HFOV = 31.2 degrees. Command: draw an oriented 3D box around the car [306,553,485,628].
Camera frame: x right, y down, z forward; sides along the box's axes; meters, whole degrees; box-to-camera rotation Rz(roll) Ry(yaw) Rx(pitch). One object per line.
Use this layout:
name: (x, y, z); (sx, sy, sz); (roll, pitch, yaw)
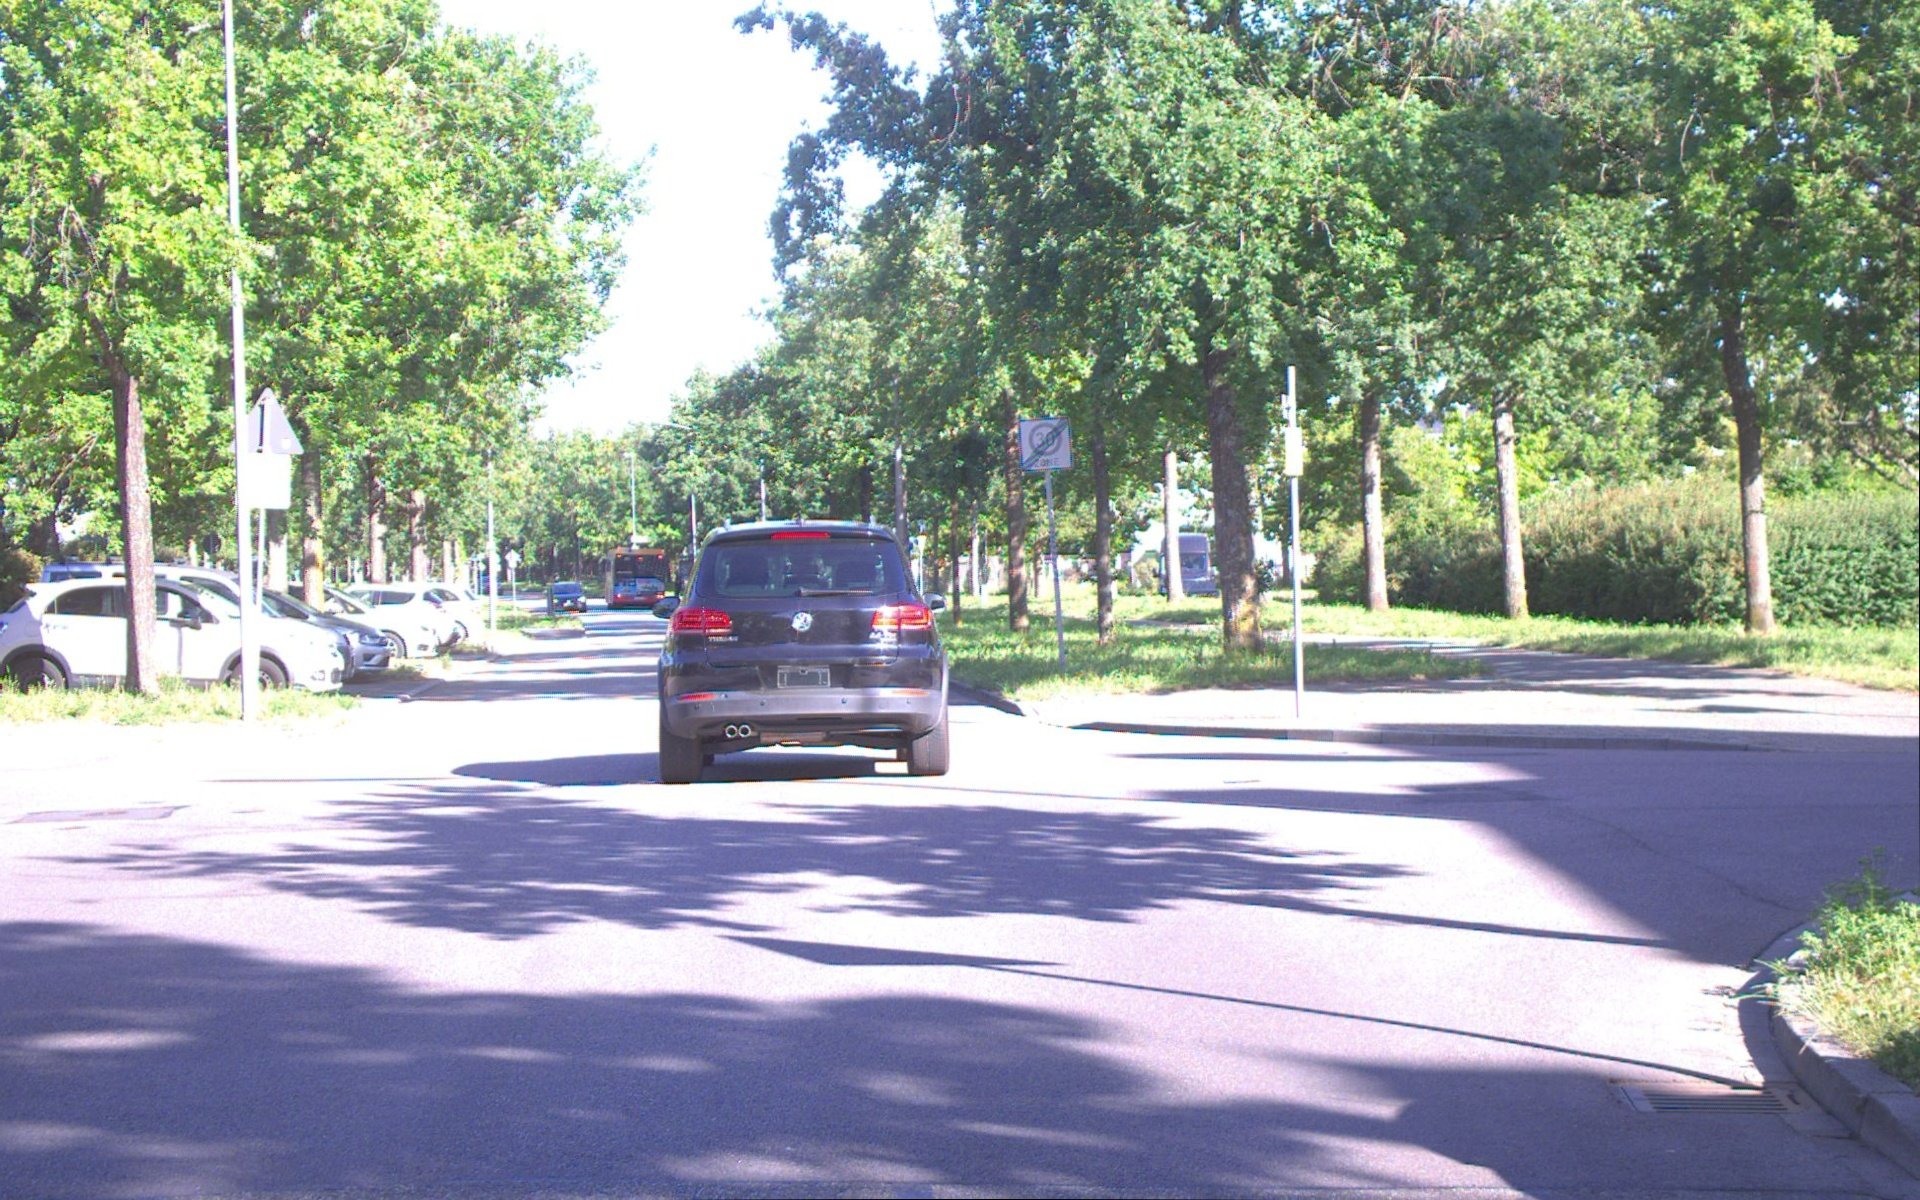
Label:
car: (-13.481, -0.239, 82.272); (4.016, 1.642, 1.811); (-2, 1, -3)

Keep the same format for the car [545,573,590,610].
car: (-18.269, -0.386, 160.216); (1.852, 1.687, 3.956); (-2, 0, -3)

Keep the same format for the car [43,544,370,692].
car: (-10.123, 0.222, 46.431); (4.016, 1.833, 1.897); (-2, 1, -3)

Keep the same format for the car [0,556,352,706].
car: (-9.537, 0.354, 41.029); (4.241, 1.617, 1.897); (-2, 1, -3)

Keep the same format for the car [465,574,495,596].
car: (-35.086, -1.104, 251.193); (1.825, 1.546, 3.689); (-2, 1, -3)

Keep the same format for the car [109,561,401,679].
car: (-10.485, 0.288, 51.363); (4.016, 1.642, 1.897); (-1, 0, -3)

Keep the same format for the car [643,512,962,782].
car: (-0.957, 0.260, 22.910); (1.838, 1.631, 3.958); (-1, 1, 1)

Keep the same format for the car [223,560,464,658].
car: (-10.994, 0.154, 61.507); (4.016, 1.642, 1.811); (-1, 0, -3)

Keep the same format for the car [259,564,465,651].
car: (-12.468, 0.146, 71.822); (4.016, 1.642, 1.811); (-2, 1, -3)

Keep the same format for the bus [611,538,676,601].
bus: (-15.664, -1.489, 170.618); (2.928, 2.993, 5.737); (-2, 0, -3)
